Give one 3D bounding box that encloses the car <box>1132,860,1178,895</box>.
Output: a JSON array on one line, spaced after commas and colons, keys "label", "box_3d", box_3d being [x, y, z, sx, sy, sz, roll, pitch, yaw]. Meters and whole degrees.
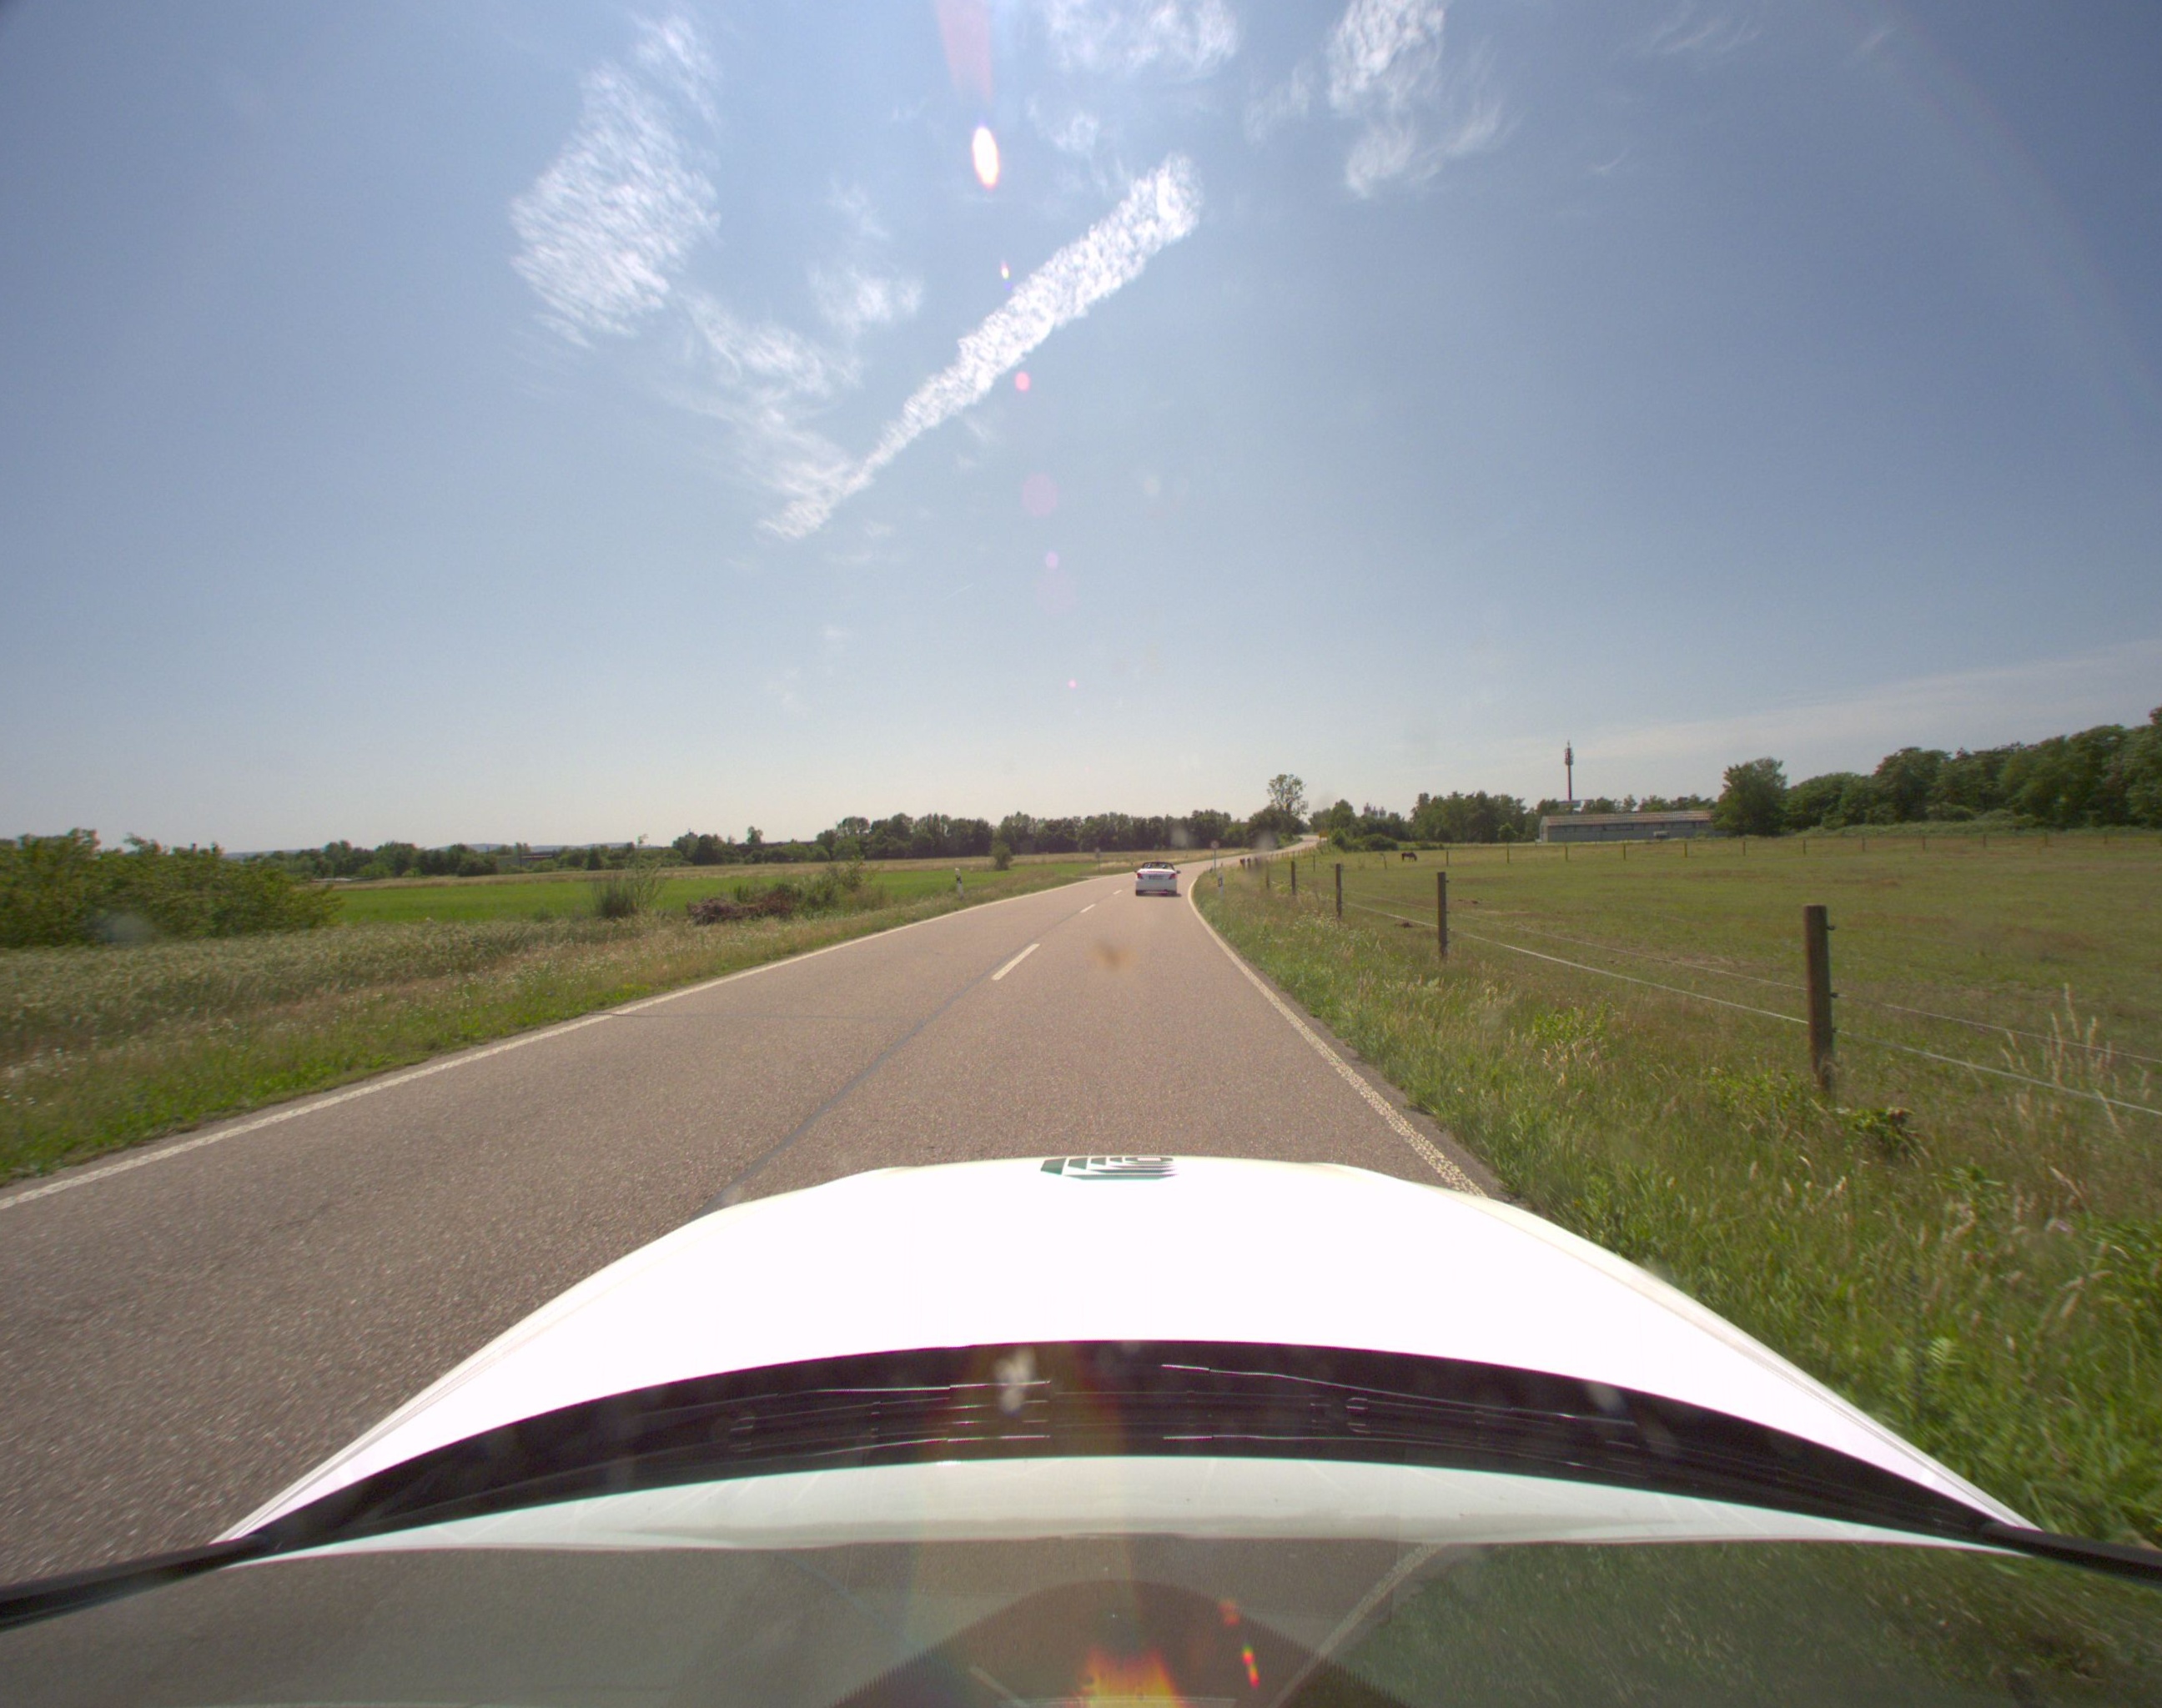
[{"label": "car", "box_3d": [3.150, 0.948, 34.474, 1.842, 1.379, 4.006, 1, 0, 6]}]
